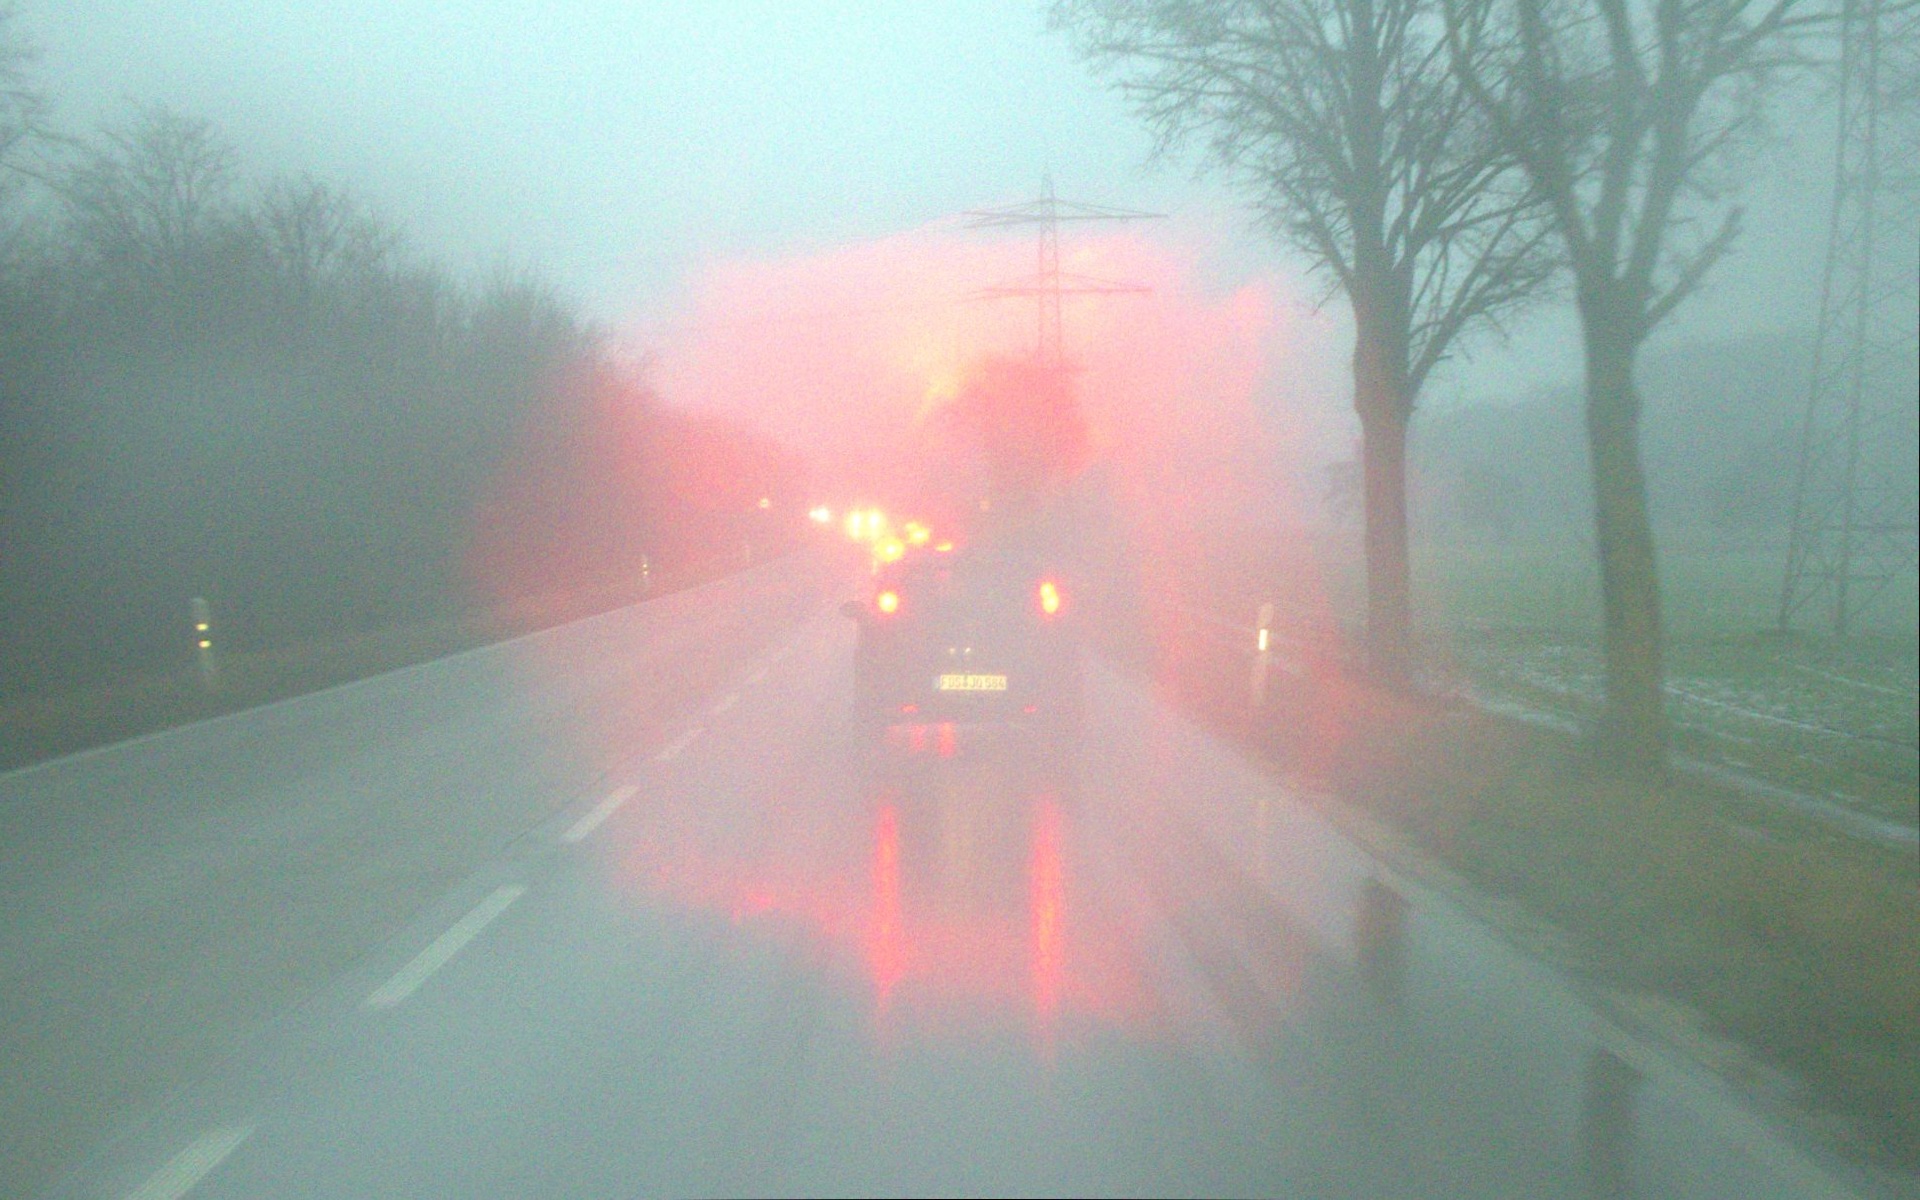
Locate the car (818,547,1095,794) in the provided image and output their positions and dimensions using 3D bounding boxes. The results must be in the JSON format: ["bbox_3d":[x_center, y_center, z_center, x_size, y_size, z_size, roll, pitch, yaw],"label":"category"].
[{"bbox_3d":[-0.055,0.479,26.747,1.993,1.746,4.000,0,1,-1],"label":"car"}]

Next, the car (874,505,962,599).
[{"bbox_3d":[-1.007,-1.168,82.395,1.993,2.006,4.001,2,3,0],"label":"car"}]
